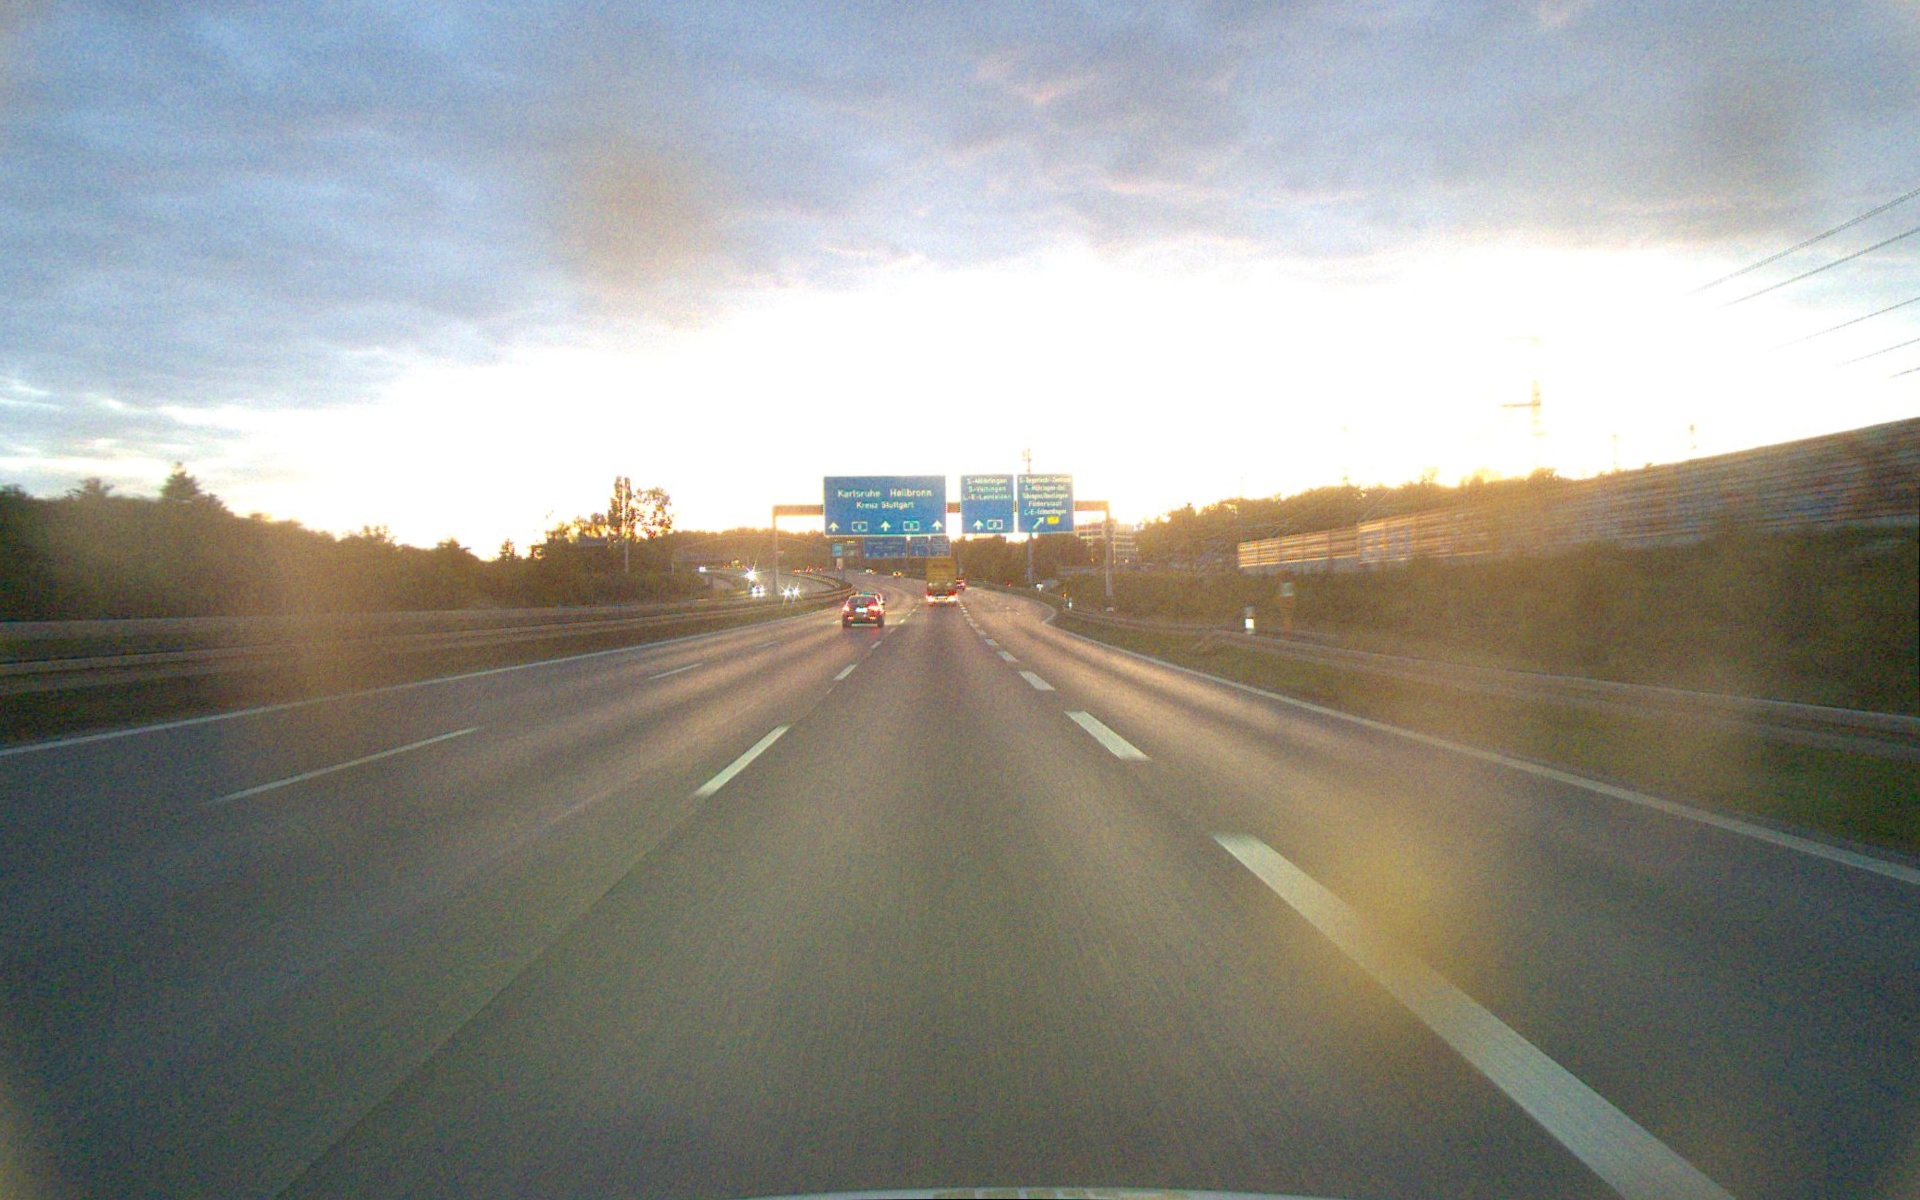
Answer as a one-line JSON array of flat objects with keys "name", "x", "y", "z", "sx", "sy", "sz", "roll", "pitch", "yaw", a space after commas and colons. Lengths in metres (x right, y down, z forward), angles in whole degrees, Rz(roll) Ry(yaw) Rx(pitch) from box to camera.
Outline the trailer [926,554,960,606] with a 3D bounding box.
[{"name": "trailer", "x": -1.494, "y": -1.795, "z": 142.035, "sx": 2.667, "sy": 4.141, "sz": 8.830, "roll": -3, "pitch": 2, "yaw": -1}]

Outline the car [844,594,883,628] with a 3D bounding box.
[{"name": "car", "x": -4.438, "y": 0.492, "z": 75.432, "sx": 1.656, "sy": 1.426, "sz": 3.405, "roll": -3, "pitch": 0, "yaw": -4}]

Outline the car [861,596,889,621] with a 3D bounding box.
[{"name": "car", "x": -5.371, "y": 0.547, "z": 104.545, "sx": 1.656, "sy": 1.425, "sz": 3.407, "roll": -3, "pitch": 0, "yaw": -2}]

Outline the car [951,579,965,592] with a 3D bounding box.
[{"name": "car", "x": -0.296, "y": -2.111, "z": 244.895, "sx": 1.953, "sy": 1.881, "sz": 3.998, "roll": 1, "pitch": -1, "yaw": -2}]
